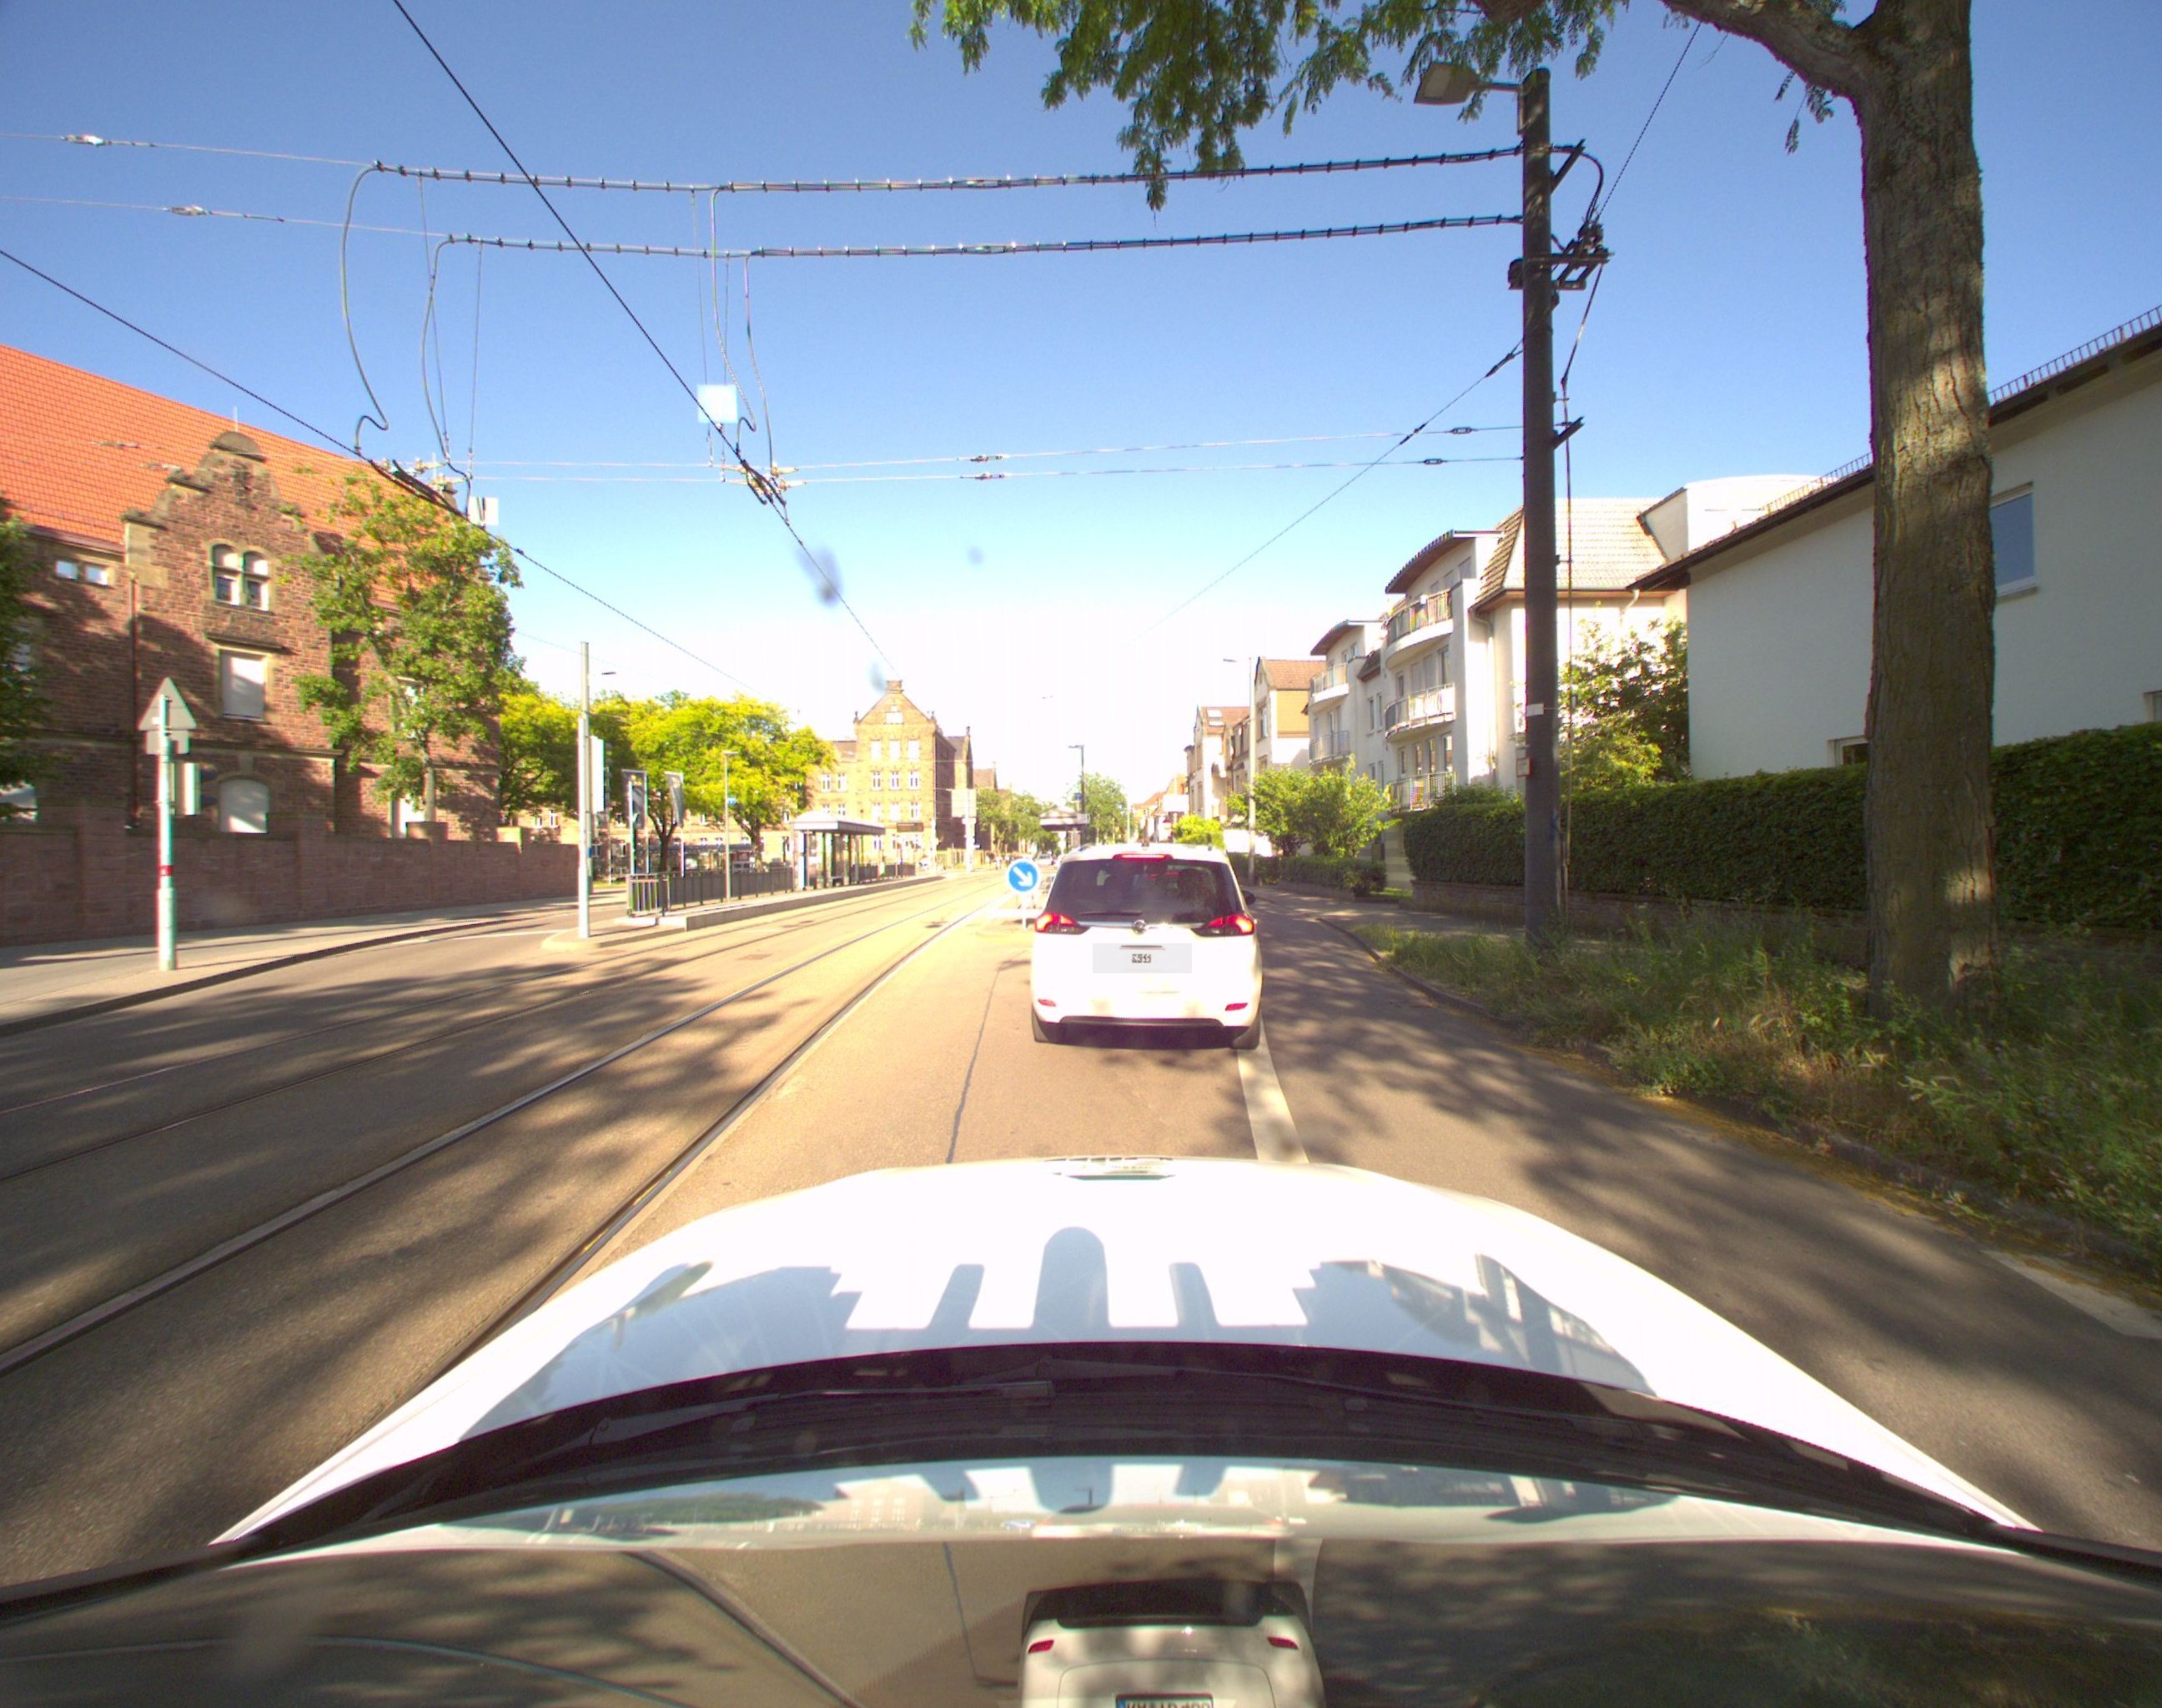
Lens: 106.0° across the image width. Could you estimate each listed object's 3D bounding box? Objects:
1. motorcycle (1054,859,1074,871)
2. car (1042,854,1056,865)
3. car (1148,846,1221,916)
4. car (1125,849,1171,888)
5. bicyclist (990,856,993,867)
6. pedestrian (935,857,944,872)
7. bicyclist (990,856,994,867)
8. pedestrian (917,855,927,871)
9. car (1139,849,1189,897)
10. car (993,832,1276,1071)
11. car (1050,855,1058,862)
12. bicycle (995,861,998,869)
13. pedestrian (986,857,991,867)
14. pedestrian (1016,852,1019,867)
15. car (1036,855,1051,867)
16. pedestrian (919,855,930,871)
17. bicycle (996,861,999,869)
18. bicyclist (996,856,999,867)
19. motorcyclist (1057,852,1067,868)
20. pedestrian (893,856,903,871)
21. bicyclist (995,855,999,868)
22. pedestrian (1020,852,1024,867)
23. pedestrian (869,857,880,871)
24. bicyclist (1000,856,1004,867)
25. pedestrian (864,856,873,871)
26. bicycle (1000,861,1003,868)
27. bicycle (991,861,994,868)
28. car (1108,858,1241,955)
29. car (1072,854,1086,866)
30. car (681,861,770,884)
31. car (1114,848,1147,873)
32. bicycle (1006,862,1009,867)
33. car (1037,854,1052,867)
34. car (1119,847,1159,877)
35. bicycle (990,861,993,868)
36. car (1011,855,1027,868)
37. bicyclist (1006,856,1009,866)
[{"bbox_3d":[-1.791,1.180,84.724,2.083,1.198,0.607,-1,0,-32],"label":"motorcycle"},{"bbox_3d":[-5.129,0.909,130.995,1.987,1.629,4.000,-1,0,0],"label":"car"},{"bbox_3d":[2.573,0.637,20.898,1.630,1.601,3.859,-1,0,4],"label":"car"},{"bbox_3d":[2.930,0.610,36.254,1.824,1.579,4.012,-1,0,2],"label":"car"},{"bbox_3d":[-12.683,1.060,115.606,0.443,1.553,0.495,-1,0,-2],"label":"bicyclist"},{"bbox_3d":[-16.736,1.210,96.374,0.728,1.714,0.710,-1,-1,24],"label":"pedestrian"},{"bbox_3d":[-12.448,1.043,113.765,0.443,1.553,0.495,-1,0,-2],"label":"bicyclist"},{"bbox_3d":[-17.059,0.979,87.520,0.839,1.691,1.029,0,-1,1],"label":"pedestrian"},{"bbox_3d":[2.943,0.634,29.323,1.630,1.601,3.859,-1,0,4],"label":"car"},{"bbox_3d":[0.643,0.683,7.707,1.982,1.644,4.003,0,0,8],"label":"car"},{"bbox_3d":[-7.088,1.139,211.739,1.987,1.863,4.000,0,-1,0],"label":"car"},{"bbox_3d":[-10.713,1.415,103.528,0.343,0.950,1.160,0,-1,-1],"label":"bicycle"},{"bbox_3d":[-15.331,1.373,135.164,0.733,1.714,0.753,0,-1,-4],"label":"pedestrian"},{"bbox_3d":[-8.768,0.775,112.360,0.443,2.013,0.495,-1,0,-2],"label":"pedestrian"},{"bbox_3d":[-5.295,0.953,114.748,1.989,1.629,3.996,-1,0,-3],"label":"car"},{"bbox_3d":[-16.520,0.956,85.985,0.892,1.684,1.029,0,-1,1],"label":"pedestrian"},{"bbox_3d":[-11.002,1.446,107.070,0.343,0.950,0.996,0,-1,-1],"label":"bicycle"},{"bbox_3d":[-10.978,0.979,107.029,0.443,1.553,0.495,-1,0,-2],"label":"bicyclist"},{"bbox_3d":[-1.944,0.661,84.634,0.847,1.621,0.609,-1,0,-32],"label":"motorcyclist"},{"bbox_3d":[-19.523,0.963,86.779,0.799,1.588,0.934,0,-1,-1],"label":"pedestrian"},{"bbox_3d":[-10.706,0.949,103.738,0.443,1.553,0.742,-1,0,-2],"label":"bicyclist"},{"bbox_3d":[-8.147,0.773,112.655,0.443,2.013,0.495,-1,0,-2],"label":"pedestrian"},{"bbox_3d":[-22.965,1.088,90.522,0.923,1.588,0.810,-1,-1,31],"label":"pedestrian"},{"bbox_3d":[-10.661,0.997,109.607,0.443,1.553,0.495,-1,0,-2],"label":"bicyclist"},{"bbox_3d":[-23.405,1.016,89.723,0.931,1.588,0.802,0,-1,-9],"label":"pedestrian"},{"bbox_3d":[-10.660,1.464,109.612,0.343,0.950,0.996,0,-1,-1],"label":"bicycle"},{"bbox_3d":[-12.419,1.511,113.803,0.343,0.950,0.996,0,-1,-1],"label":"bicycle"},{"bbox_3d":[1.531,0.790,14.069,1.944,1.397,4.005,-1,0,4],"label":"car"},{"bbox_3d":[-0.278,0.864,119.965,1.988,1.629,3.998,-1,0,-1],"label":"car"},{"bbox_3d":[-32.959,1.701,75.705,6.926,1.921,2.992,-1,0,0],"label":"car"},{"bbox_3d":[3.102,0.384,51.847,1.986,1.503,4.002,-1,0,2],"label":"car"},{"bbox_3d":[-10.360,1.436,114.712,0.343,0.725,0.996,0,-1,-1],"label":"bicycle"},{"bbox_3d":[-4.814,0.893,107.626,1.989,1.629,3.996,-1,0,-3],"label":"car"},{"bbox_3d":[3.127,0.413,44.380,1.986,1.503,4.002,-1,0,2],"label":"car"},{"bbox_3d":[-12.676,1.528,115.640,0.343,0.950,0.996,0,-1,-1],"label":"bicycle"},{"bbox_3d":[-8.190,0.925,107.484,1.989,1.629,3.996,-1,0,-3],"label":"car"},{"bbox_3d":[-10.356,1.006,114.707,0.358,1.303,0.397,-1,0,-2],"label":"bicyclist"}]
